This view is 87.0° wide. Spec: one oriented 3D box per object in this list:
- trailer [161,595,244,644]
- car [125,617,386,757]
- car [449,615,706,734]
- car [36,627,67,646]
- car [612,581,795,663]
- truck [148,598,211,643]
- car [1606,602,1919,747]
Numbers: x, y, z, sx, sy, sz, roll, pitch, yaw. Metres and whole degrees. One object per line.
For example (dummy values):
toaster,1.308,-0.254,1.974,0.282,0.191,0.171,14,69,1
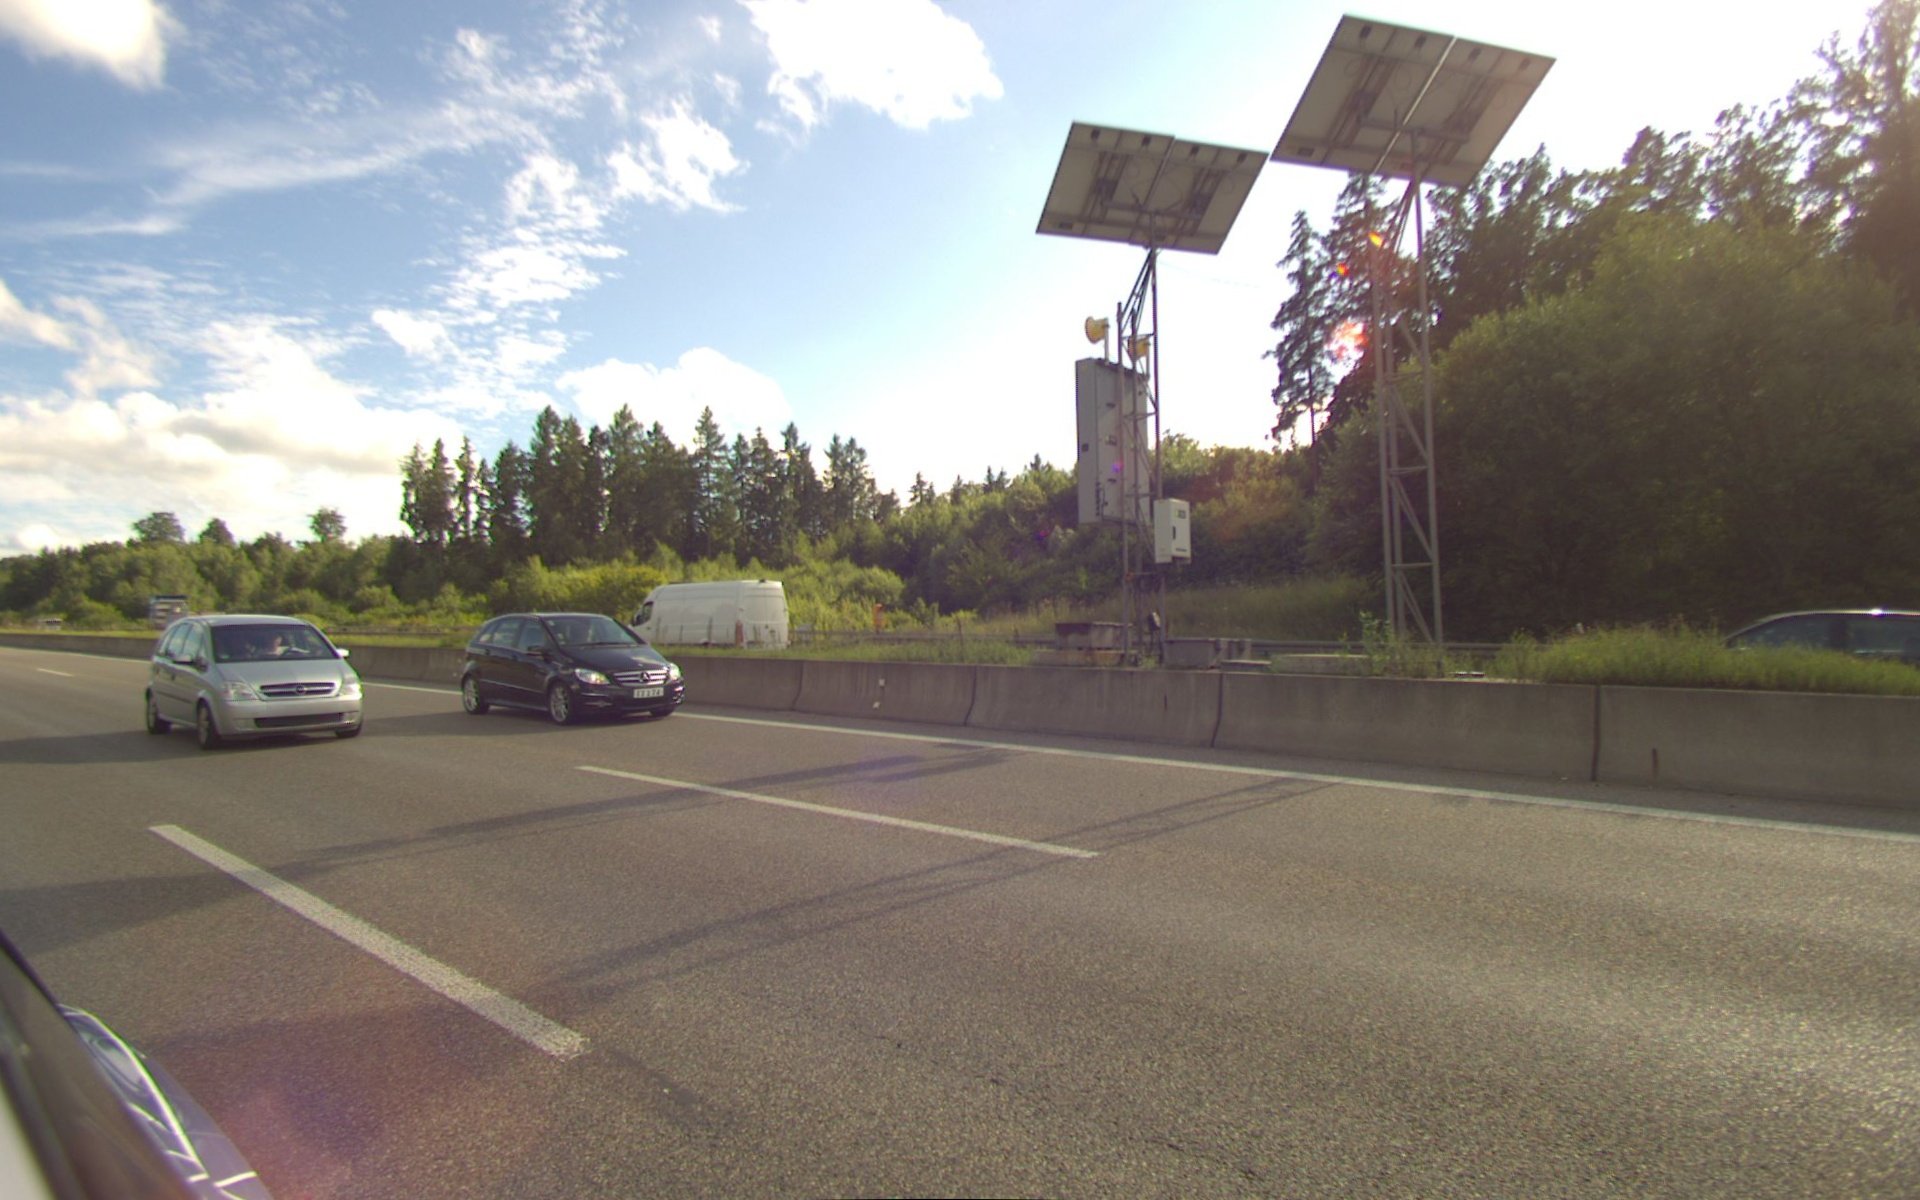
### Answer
trailer,-64.181,1.703,85.558,12.202,3.867,3.092,-2,-2,41
car,-9.295,1.011,13.216,4.331,1.529,1.816,-2,-2,41
car,-5.876,1.027,15.295,4.331,1.529,1.816,-2,-2,41
car,-98.252,3.914,109.405,4.857,2.029,1.973,-2,-2,41
car,-8.155,0.696,31.659,6.720,2.330,2.087,-2,-1,41
truck,-69.672,1.836,90.316,7.118,3.867,3.082,-2,-2,41
car,9.857,0.776,11.478,3.998,1.464,1.973,-2,-1,41
